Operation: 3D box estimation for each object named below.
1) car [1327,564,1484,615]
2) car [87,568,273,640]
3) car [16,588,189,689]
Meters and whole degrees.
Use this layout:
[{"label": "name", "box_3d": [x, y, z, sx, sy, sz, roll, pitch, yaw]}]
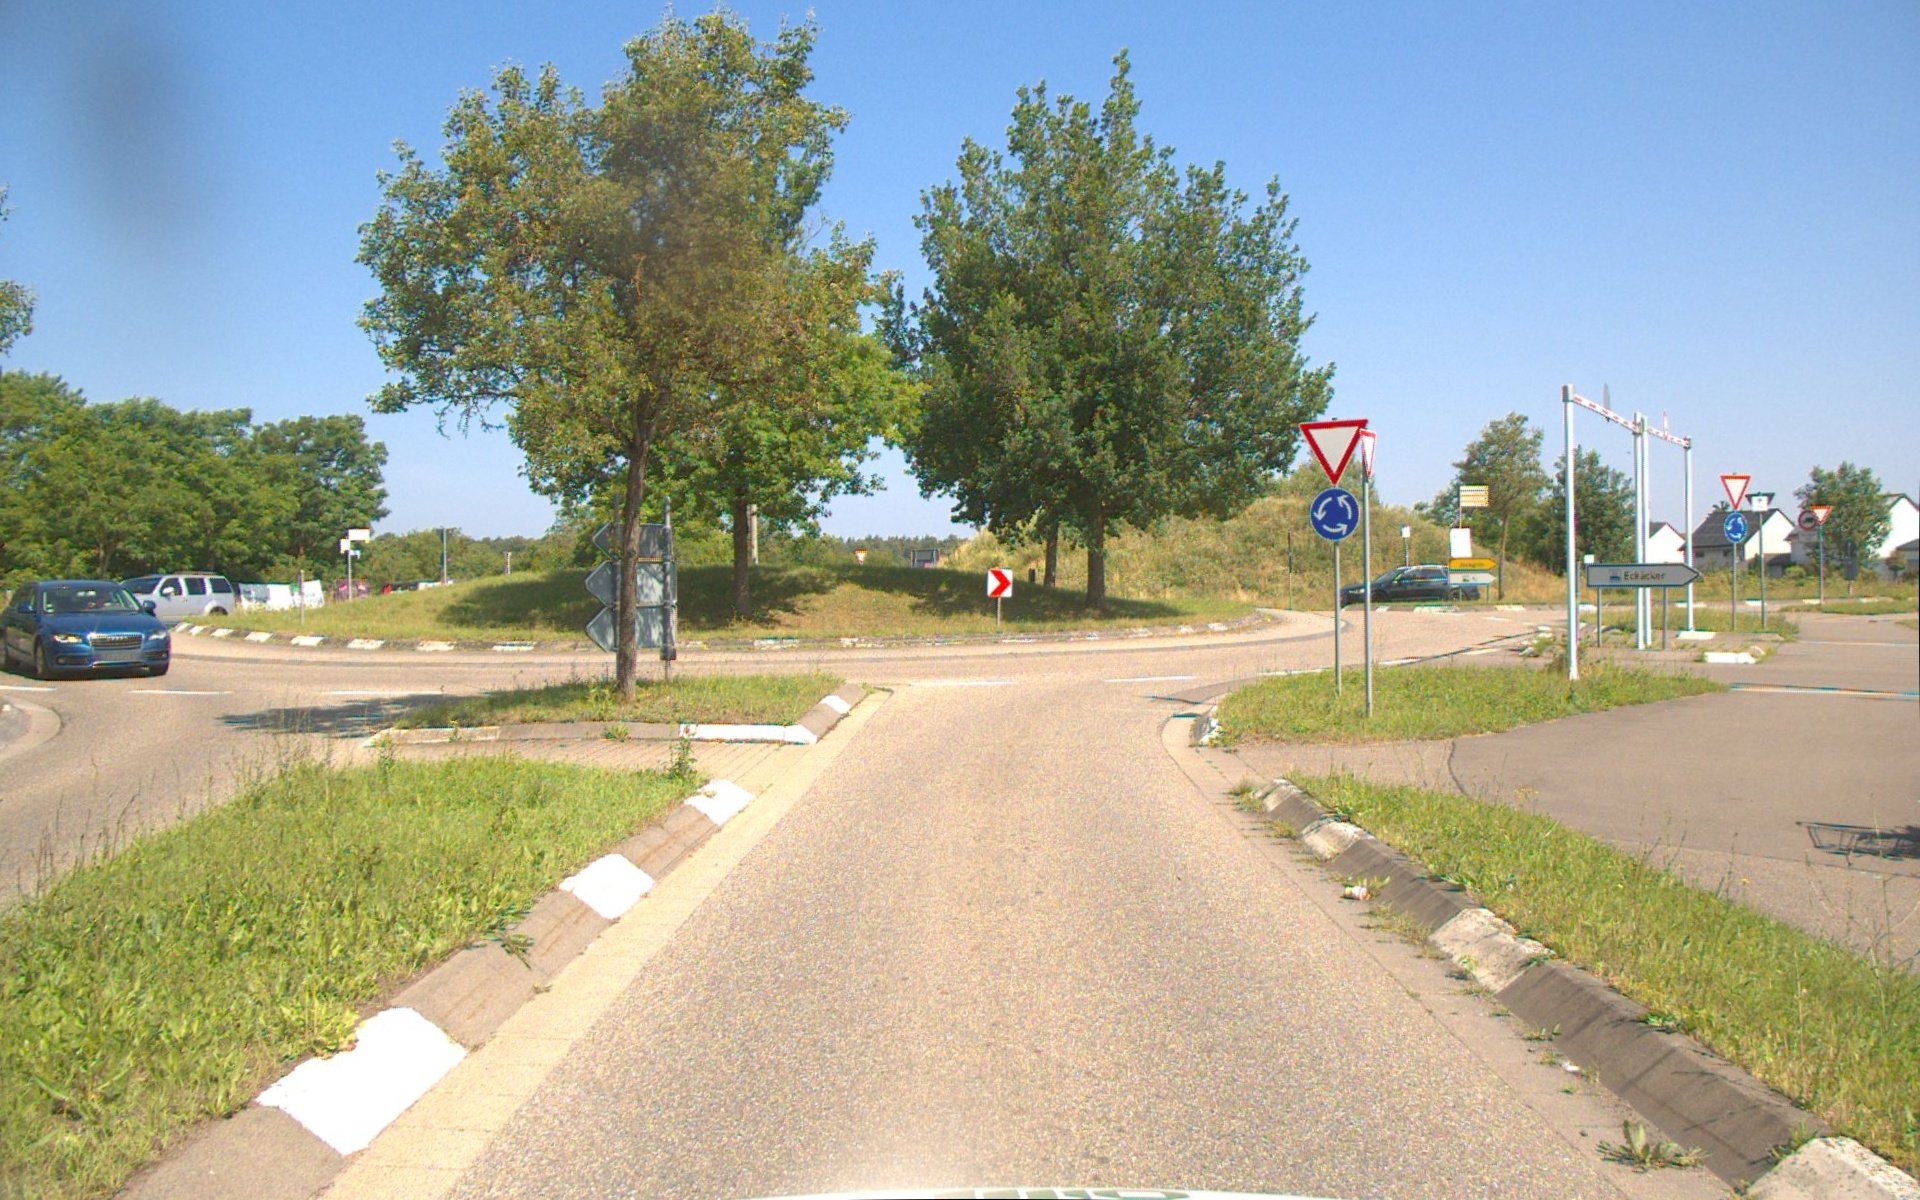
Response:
[{"label": "car", "box_3d": [14.755, -0.363, 54.893, 4.675, 1.620, 1.994, -1, 1, -12]}, {"label": "car", "box_3d": [-21.214, 0.063, 45.198, 1.854, 1.847, 4.597, -1, 1, 20]}, {"label": "car", "box_3d": [-13.714, 0.548, 26.324, 1.818, 1.411, 4.368, -2, 2, -36]}]
